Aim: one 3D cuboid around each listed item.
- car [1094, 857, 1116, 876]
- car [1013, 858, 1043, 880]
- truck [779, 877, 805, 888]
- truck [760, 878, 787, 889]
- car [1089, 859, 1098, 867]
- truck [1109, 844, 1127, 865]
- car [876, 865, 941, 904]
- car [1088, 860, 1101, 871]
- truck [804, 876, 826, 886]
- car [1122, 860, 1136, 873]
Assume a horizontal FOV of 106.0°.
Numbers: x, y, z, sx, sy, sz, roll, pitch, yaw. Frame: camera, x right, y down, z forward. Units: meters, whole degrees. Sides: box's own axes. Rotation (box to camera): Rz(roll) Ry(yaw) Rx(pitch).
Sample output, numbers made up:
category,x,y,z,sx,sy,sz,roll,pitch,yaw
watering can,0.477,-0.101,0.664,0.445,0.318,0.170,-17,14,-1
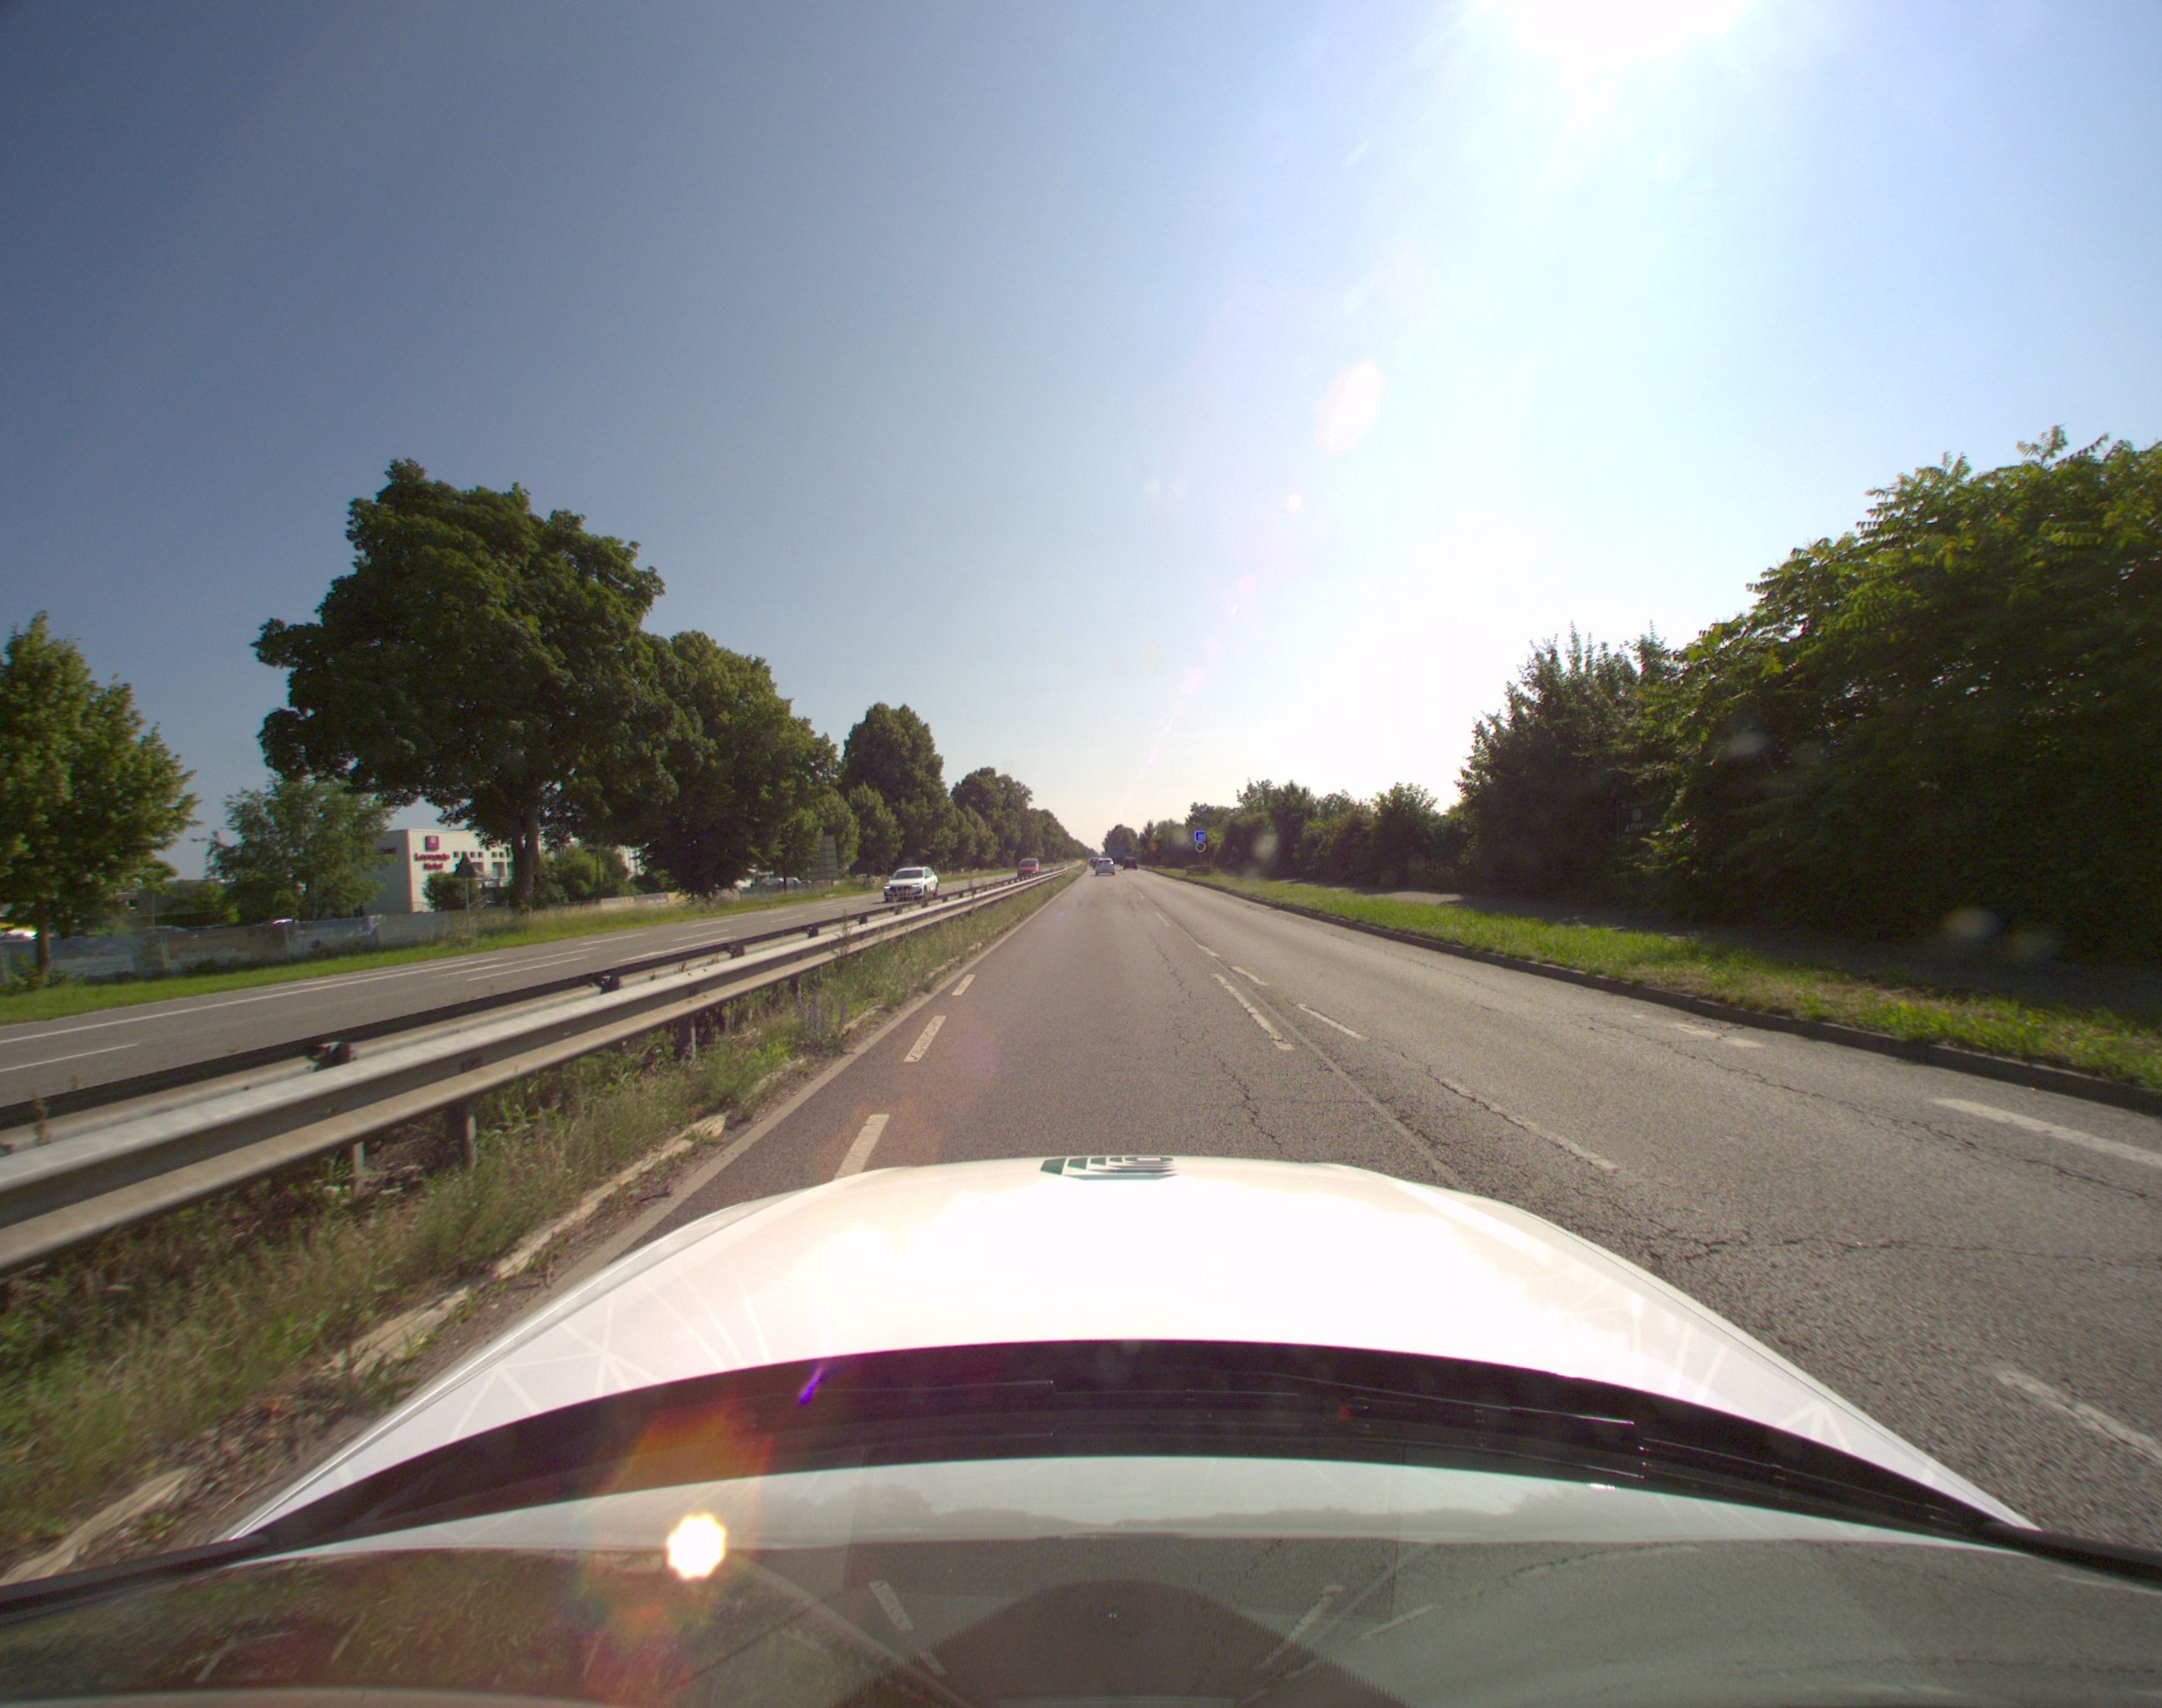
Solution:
category,x,y,z,sx,sy,sz,roll,pitch,yaw
car,2.170,1.116,71.842,1.791,1.553,4.003,-2,0,3
car,-4.048,1.151,62.996,1.906,1.502,4.091,-3,0,0
truck,-60.181,5.974,169.733,4.485,2.014,2.052,-2,-1,1
truck,-60.809,5.875,160.938,4.485,2.014,2.052,-2,-1,1
car,2.238,1.585,145.824,1.566,1.414,3.279,-3,0,2
truck,6.589,0.048,145.873,2.881,3.428,9.173,-3,0,2
car,-7.799,1.353,37.224,1.987,1.502,4.091,-3,0,0
car,1.856,1.513,111.216,1.566,1.414,3.279,-3,0,2
truck,-61.905,6.312,189.514,4.485,2.014,2.052,-2,-1,1
car,5.622,1.465,95.411,1.566,1.414,3.279,-2,-1,2
